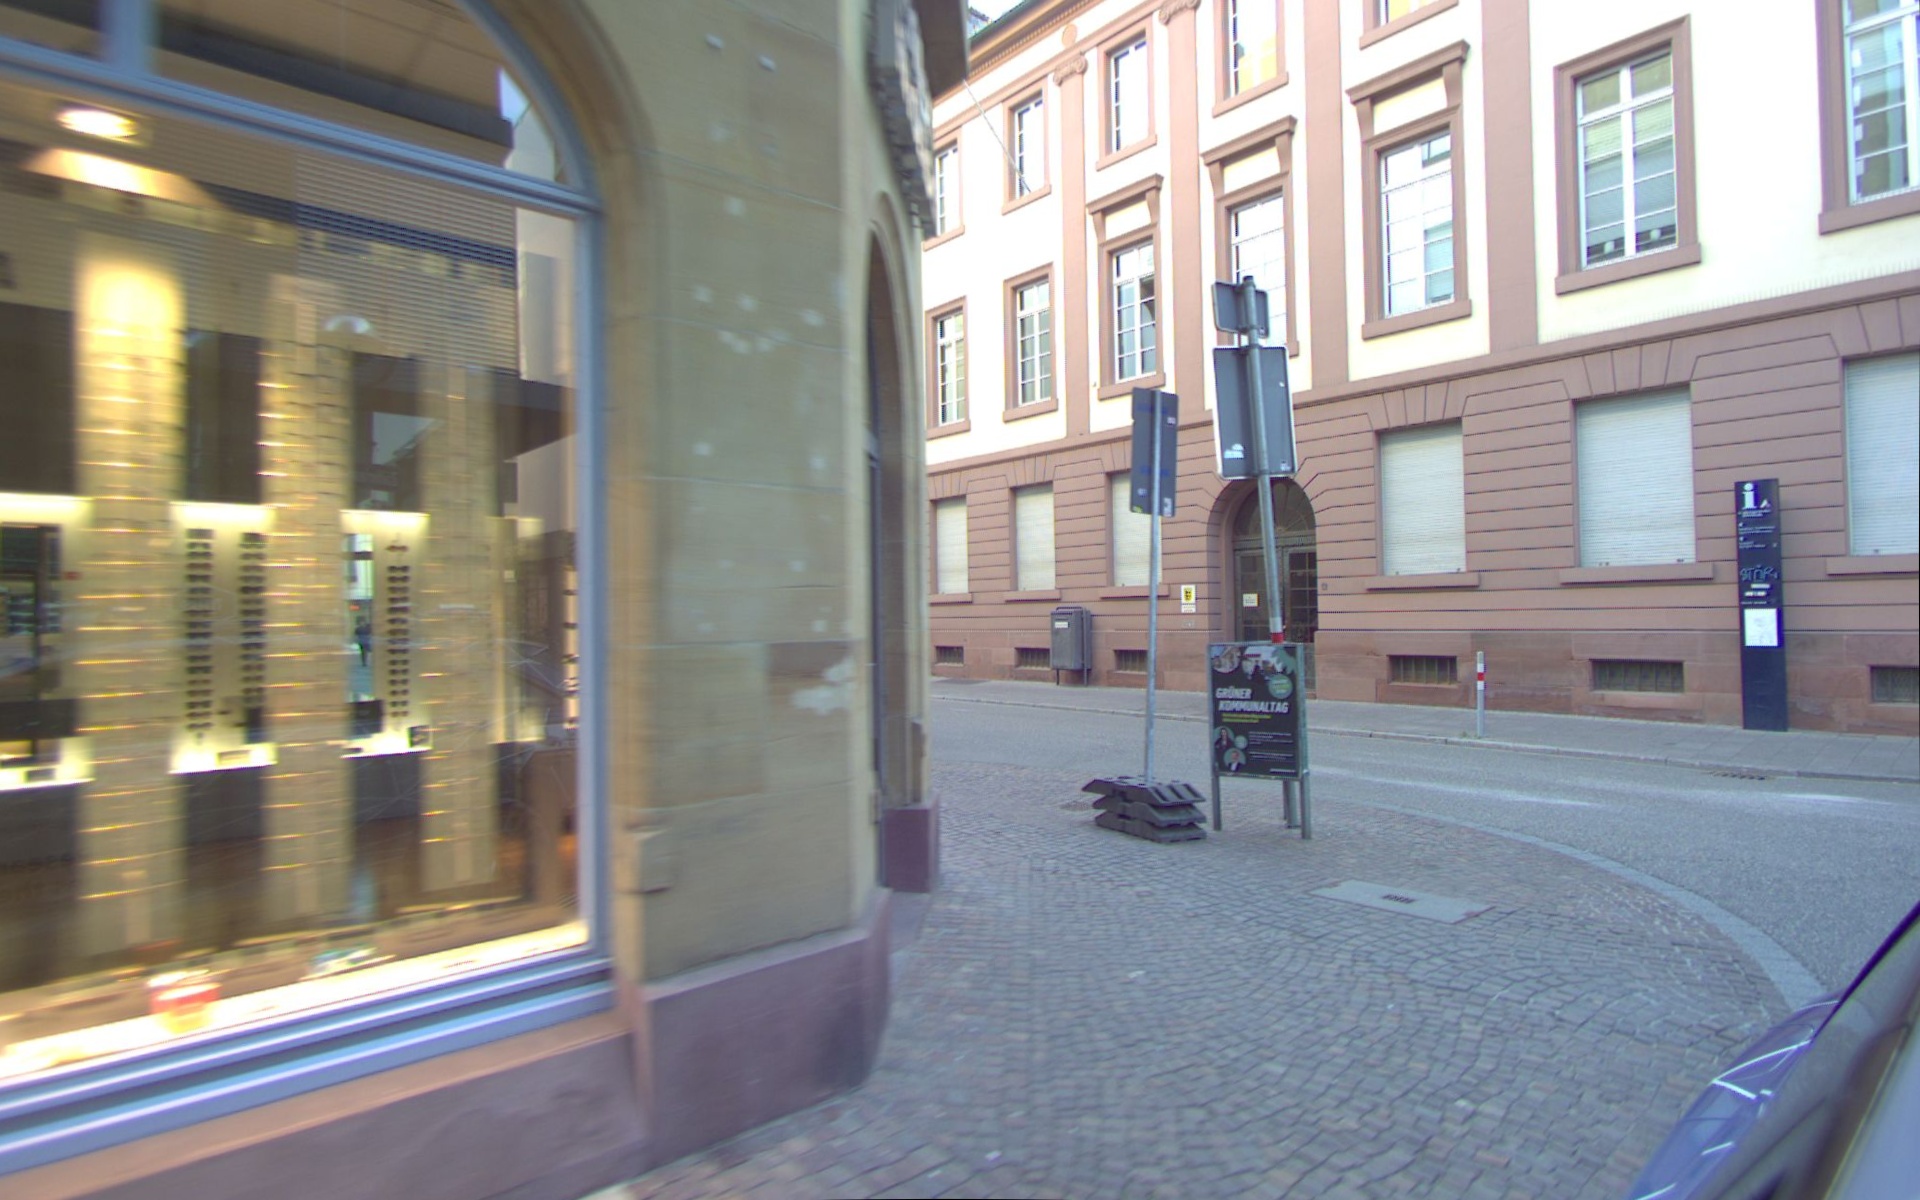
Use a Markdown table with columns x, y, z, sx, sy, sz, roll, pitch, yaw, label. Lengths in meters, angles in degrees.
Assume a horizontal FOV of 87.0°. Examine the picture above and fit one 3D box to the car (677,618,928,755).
| x | y | z | sx | sy | sz | roll | pitch | yaw | label |
| --- | --- | --- | --- | --- | --- | --- | --- | --- | --- |
| -2.182 | 1.023 | 13.335 | 1.591 | 1.442 | 3.591 | -4 | 1 | -40 | car |
